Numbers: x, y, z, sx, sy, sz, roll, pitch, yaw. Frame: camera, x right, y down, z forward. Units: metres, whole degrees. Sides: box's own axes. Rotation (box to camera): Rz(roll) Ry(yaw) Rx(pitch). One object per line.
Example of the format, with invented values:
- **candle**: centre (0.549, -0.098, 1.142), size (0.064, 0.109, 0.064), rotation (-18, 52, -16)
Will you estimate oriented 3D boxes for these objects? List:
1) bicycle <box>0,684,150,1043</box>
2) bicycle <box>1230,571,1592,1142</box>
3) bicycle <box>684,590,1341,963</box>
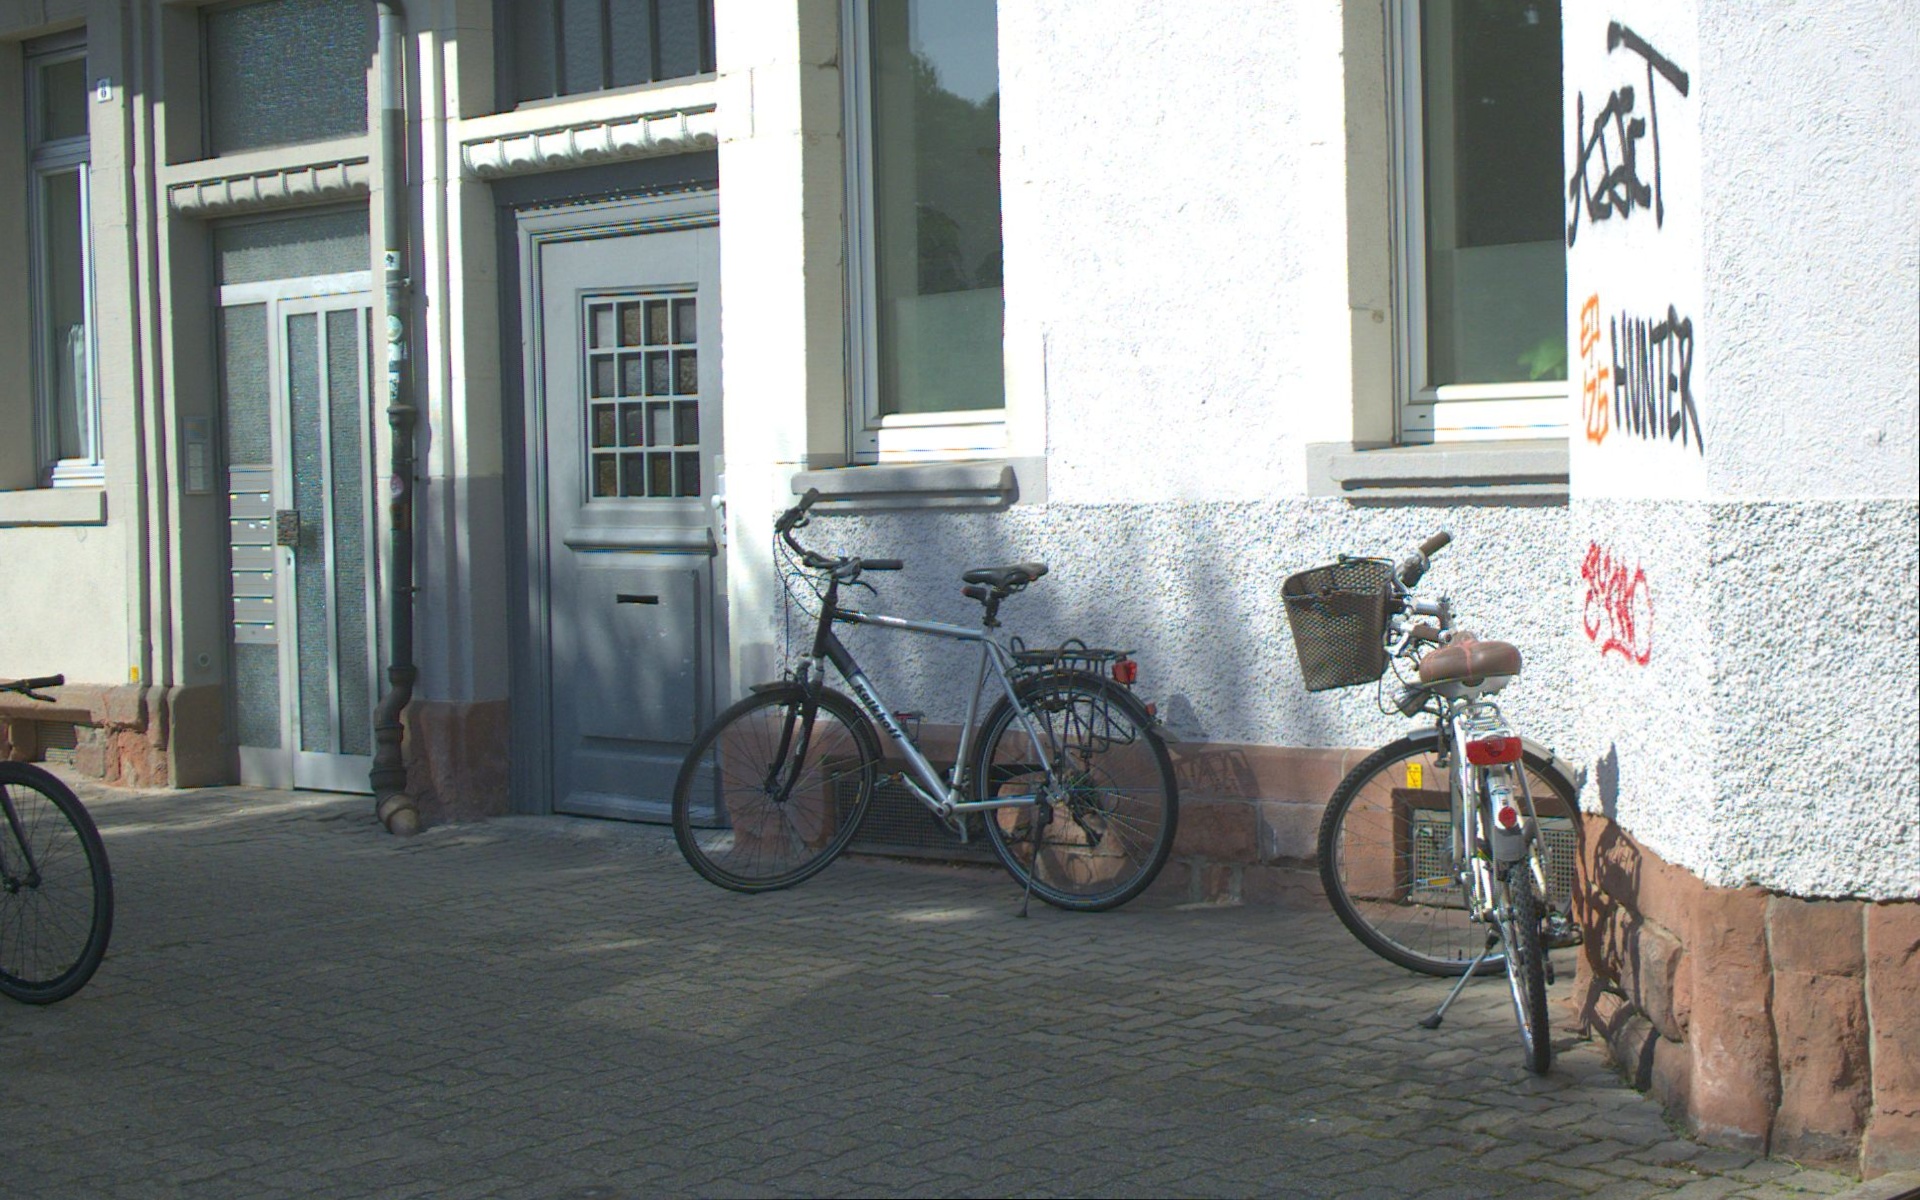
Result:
- **bicycle**: centre (-2.946, 0.696, 9.719), size (1.580, 0.888, 0.448), rotation (1, 4, 44)
- **bicycle**: centre (0.982, 0.511, 7.841), size (0.536, 1.042, 1.828), rotation (-2, 4, -1)
- **bicycle**: centre (0.107, 0.477, 10.299), size (0.608, 0.942, 2.113), rotation (-6, 5, -44)
